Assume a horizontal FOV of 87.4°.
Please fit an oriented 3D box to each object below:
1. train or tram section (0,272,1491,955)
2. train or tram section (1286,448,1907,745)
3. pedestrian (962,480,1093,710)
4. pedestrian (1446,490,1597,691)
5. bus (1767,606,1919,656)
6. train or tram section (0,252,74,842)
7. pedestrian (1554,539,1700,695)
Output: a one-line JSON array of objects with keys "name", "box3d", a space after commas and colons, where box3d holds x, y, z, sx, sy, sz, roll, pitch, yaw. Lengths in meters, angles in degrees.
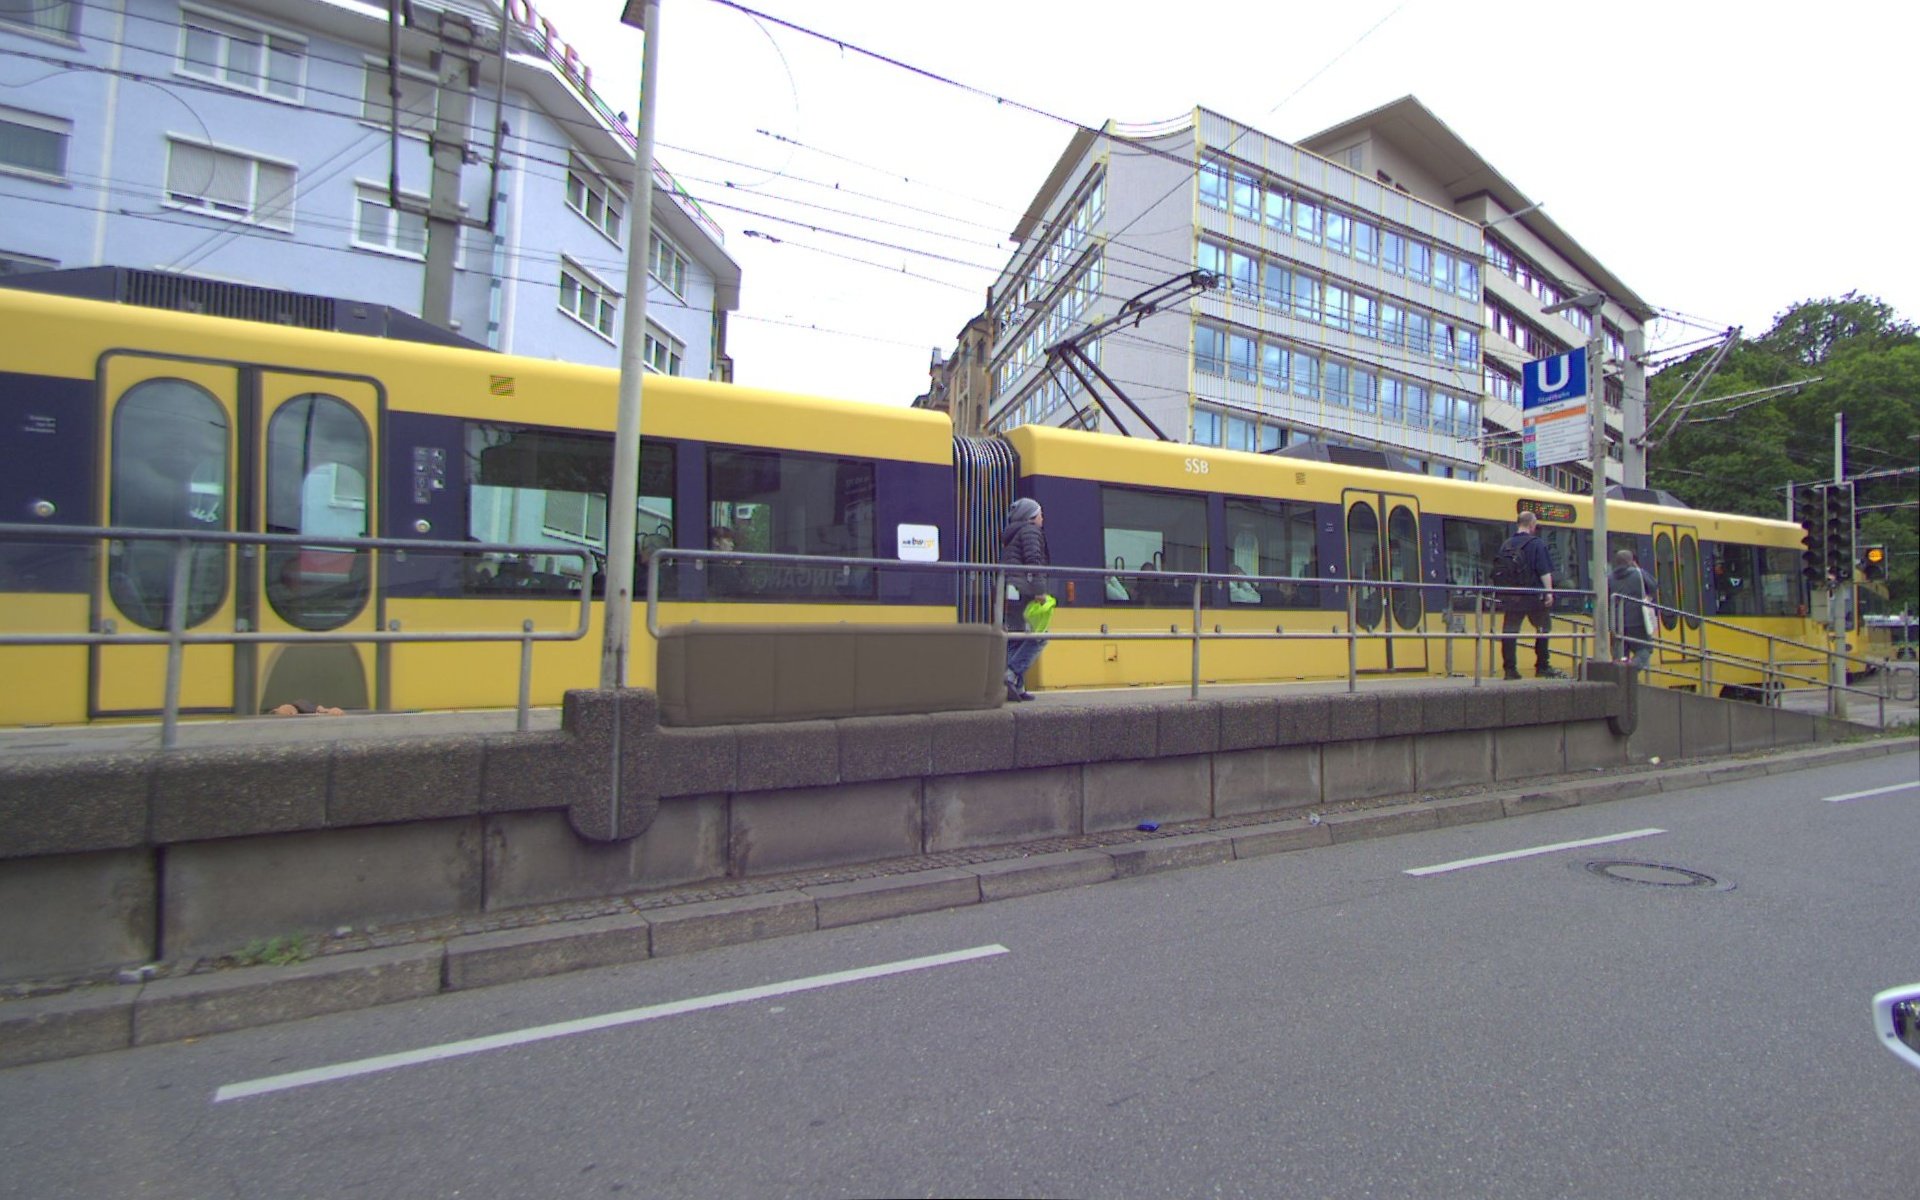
[{"name": "train or tram section", "box3d": [-0.215, 0.127, 10.157, 14.066, 3.710, 2.869, 0, -4, -31]}, {"name": "train or tram section", "box3d": [11.804, 0.026, 17.465, 14.309, 3.710, 2.869, 0, -4, -31]}, {"name": "pedestrian", "box3d": [0.490, -0.013, 7.509, 0.657, 1.605, 0.775, 1, -3, -29]}, {"name": "pedestrian", "box3d": [6.021, -0.054, 10.782, 1.219, 1.995, 0.925, 4, -4, -30]}, {"name": "bus", "box3d": [60.521, 2.117, 66.310, 3.334, 3.068, 11.516, 0, -3, -15]}, {"name": "train or tram section", "box3d": [-12.177, -0.231, 2.910, 14.066, 3.710, 2.869, -1, -4, -31]}, {"name": "pedestrian", "box3d": [7.984, 0.234, 12.044, 1.029, 1.701, 1.112, 6, -6, -29]}]
